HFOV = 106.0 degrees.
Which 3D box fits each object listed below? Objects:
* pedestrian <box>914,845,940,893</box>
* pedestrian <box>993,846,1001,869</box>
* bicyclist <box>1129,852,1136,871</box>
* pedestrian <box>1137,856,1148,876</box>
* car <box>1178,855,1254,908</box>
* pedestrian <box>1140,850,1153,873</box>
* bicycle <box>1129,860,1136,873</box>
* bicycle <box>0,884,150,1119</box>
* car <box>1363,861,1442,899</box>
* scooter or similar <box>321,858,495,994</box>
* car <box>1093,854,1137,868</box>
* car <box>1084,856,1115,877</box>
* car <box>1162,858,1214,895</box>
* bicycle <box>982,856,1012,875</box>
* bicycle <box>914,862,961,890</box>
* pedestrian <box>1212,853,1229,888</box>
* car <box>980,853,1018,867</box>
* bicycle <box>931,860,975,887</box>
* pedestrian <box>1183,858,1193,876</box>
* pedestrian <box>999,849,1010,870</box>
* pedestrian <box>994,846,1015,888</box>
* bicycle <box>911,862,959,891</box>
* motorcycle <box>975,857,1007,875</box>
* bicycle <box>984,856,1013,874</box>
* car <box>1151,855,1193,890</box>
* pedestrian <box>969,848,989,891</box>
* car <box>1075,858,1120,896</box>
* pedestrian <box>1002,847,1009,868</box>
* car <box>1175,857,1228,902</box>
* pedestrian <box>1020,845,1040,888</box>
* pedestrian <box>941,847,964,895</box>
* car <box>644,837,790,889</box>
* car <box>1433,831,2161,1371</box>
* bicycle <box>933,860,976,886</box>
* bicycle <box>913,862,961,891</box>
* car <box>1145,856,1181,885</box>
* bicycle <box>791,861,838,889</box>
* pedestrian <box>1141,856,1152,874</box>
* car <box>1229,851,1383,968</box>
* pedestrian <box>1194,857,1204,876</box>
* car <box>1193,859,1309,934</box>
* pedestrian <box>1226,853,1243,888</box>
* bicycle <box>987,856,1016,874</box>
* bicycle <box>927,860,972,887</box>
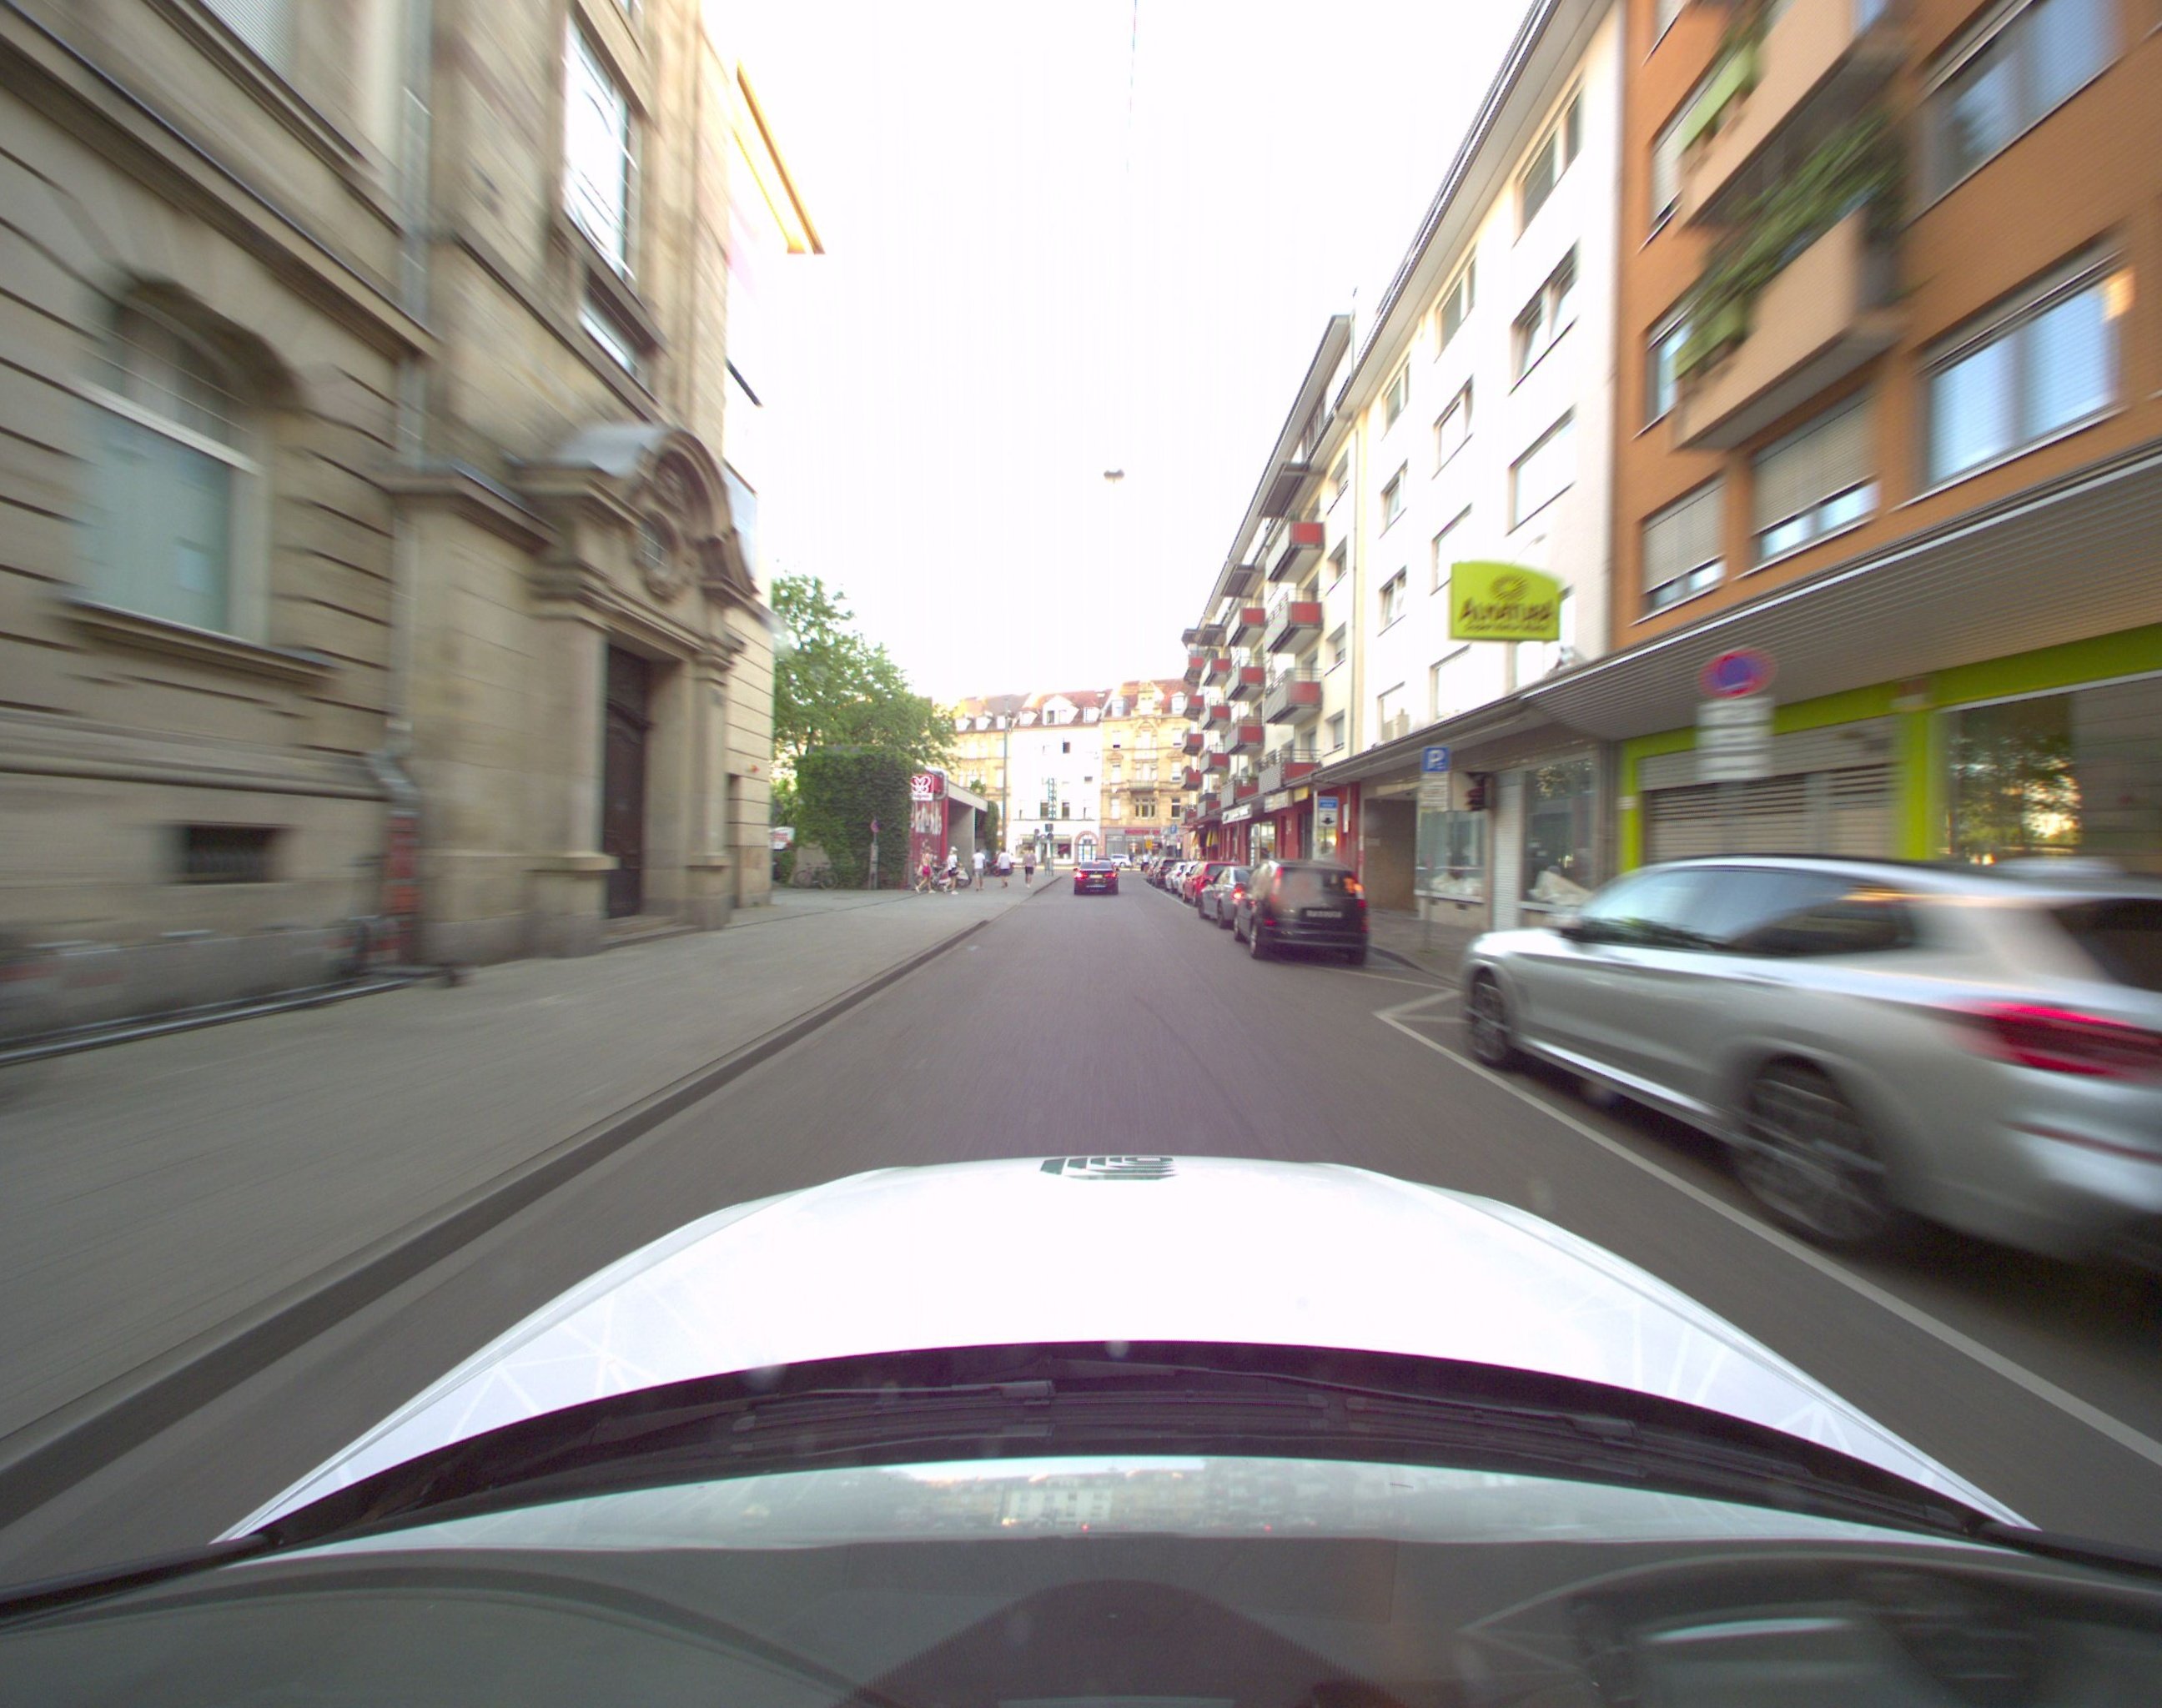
[{"bbox_3d":[-5.762,0.553,30.559,0.750,1.749,0.846,2,0,1],"label":"pedestrian"},{"bbox_3d":[-6.797,0.268,65.919,0.580,1.882,0.635,0,0,7],"label":"pedestrian"},{"bbox_3d":[4.645,0.675,73.146,0.521,1.756,0.621,1,0,7],"label":"bicyclist"},{"bbox_3d":[5.151,0.980,68.314,0.723,1.609,0.648,2,0,-8],"label":"pedestrian"},{"bbox_3d":[4.440,0.857,27.399,1.707,1.512,4.651,3,0,0],"label":"car"},{"bbox_3d":[5.315,0.610,66.162,0.681,1.877,0.693,2,0,-36],"label":"pedestrian"},{"bbox_3d":[4.646,1.106,73.166,0.533,1.107,1.803,1,0,7],"label":"bicycle"},{"bbox_3d":[-6.069,0.669,3.968,1.939,1.061,0.617,4,-1,-14],"label":"bicycle"},{"bbox_3d":[12.425,0.959,31.754,1.732,1.336,4.004,0,0,3],"label":"car"},{"bbox_3d":[-6.375,0.671,7.761,1.133,1.232,0.495,2,0,-11],"label":"scooter or similar"},{"bbox_3d":[3.663,0.753,87.616,4.313,1.562,1.879,0,-1,23],"label":"car"},{"bbox_3d":[1.349,0.863,57.987,1.868,1.473,4.006,0,0,5],"label":"car"},{"bbox_3d":[4.800,0.990,37.109,1.693,1.452,4.457,3,0,0],"label":"car"},{"bbox_3d":[-5.339,0.721,51.726,1.786,1.107,0.500,2,0,3],"label":"bicycle"},{"bbox_3d":[-5.849,0.889,33.275,1.788,1.107,0.500,1,0,0],"label":"bicycle"},{"bbox_3d":[6.648,0.774,38.843,0.645,1.661,0.655,-2,0,3],"label":"pedestrian"},{"bbox_3d":[-9.487,0.669,93.853,3.951,1.510,1.810,0,-1,23],"label":"car"},{"bbox_3d":[-5.594,0.838,35.546,1.786,1.107,0.501,2,0,4],"label":"bicycle"},{"bbox_3d":[7.525,0.909,57.306,0.683,1.286,0.610,-1,-1,10],"label":"pedestrian"},{"bbox_3d":[-6.260,0.457,66.728,0.665,1.746,0.661,0,0,41],"label":"pedestrian"},{"bbox_3d":[-3.390,0.577,36.100,0.738,1.812,1.009,3,0,1],"label":"pedestrian"},{"bbox_3d":[-5.859,0.888,32.740,1.788,1.107,0.500,1,0,0],"label":"bicycle"},{"bbox_3d":[-5.502,0.725,49.700,1.783,1.064,0.769,2,0,27],"label":"motorcycle"},{"bbox_3d":[-5.300,0.722,52.475,1.790,1.107,0.499,2,0,-4],"label":"bicycle"},{"bbox_3d":[4.792,0.931,43.649,1.758,1.642,4.792,3,0,1],"label":"car"},{"bbox_3d":[-4.207,0.639,33.601,0.714,1.754,0.848,1,0,0],"label":"pedestrian"},{"bbox_3d":[0.740,0.923,34.515,1.758,1.375,4.792,1,0,2],"label":"car"},{"bbox_3d":[-6.077,0.291,65.350,0.498,1.643,0.521,0,0,3],"label":"pedestrian"},{"bbox_3d":[4.660,0.952,31.932,1.600,1.512,4.051,3,0,2],"label":"car"},{"bbox_3d":[-2.309,0.548,36.777,0.741,1.893,1.051,2,0,2],"label":"pedestrian"},{"bbox_3d":[-4.814,0.614,30.457,0.647,1.750,0.986,1,0,1],"label":"pedestrian"},{"bbox_3d":[-12.837,0.302,28.891,4.202,1.760,2.068,0,0,3],"label":"car"},{"bbox_3d":[3.986,0.792,4.912,1.745,1.668,4.758,3,0,2],"label":"car"},{"bbox_3d":[-5.589,0.842,36.016,1.786,1.107,0.501,2,0,4],"label":"bicycle"},{"bbox_3d":[-5.739,0.889,32.392,1.788,1.107,0.500,1,0,1],"label":"bicycle"},{"bbox_3d":[4.930,0.967,49.540,1.758,1.502,4.792,3,0,2],"label":"car"},{"bbox_3d":[-10.105,0.803,30.864,1.653,1.013,0.371,1,0,2],"label":"bicycle"},{"bbox_3d":[5.440,0.905,67.644,0.735,1.513,0.648,2,0,-8],"label":"pedestrian"},{"bbox_3d":[3.699,0.801,14.165,1.785,1.610,4.493,3,0,6],"label":"car"},{"bbox_3d":[8.363,0.888,57.654,0.604,1.348,0.696,-1,0,0],"label":"pedestrian"},{"bbox_3d":[3.915,0.912,19.540,1.731,1.415,4.681,3,0,0],"label":"car"},{"bbox_3d":[7.309,0.777,38.707,0.645,1.661,0.794,-2,0,3],"label":"pedestrian"},{"bbox_3d":[-5.269,0.724,54.136,1.788,1.107,0.500,2,0,1],"label":"bicycle"},{"bbox_3d":[-5.625,0.833,34.914,1.786,1.107,0.501,2,0,4],"label":"bicycle"}]
